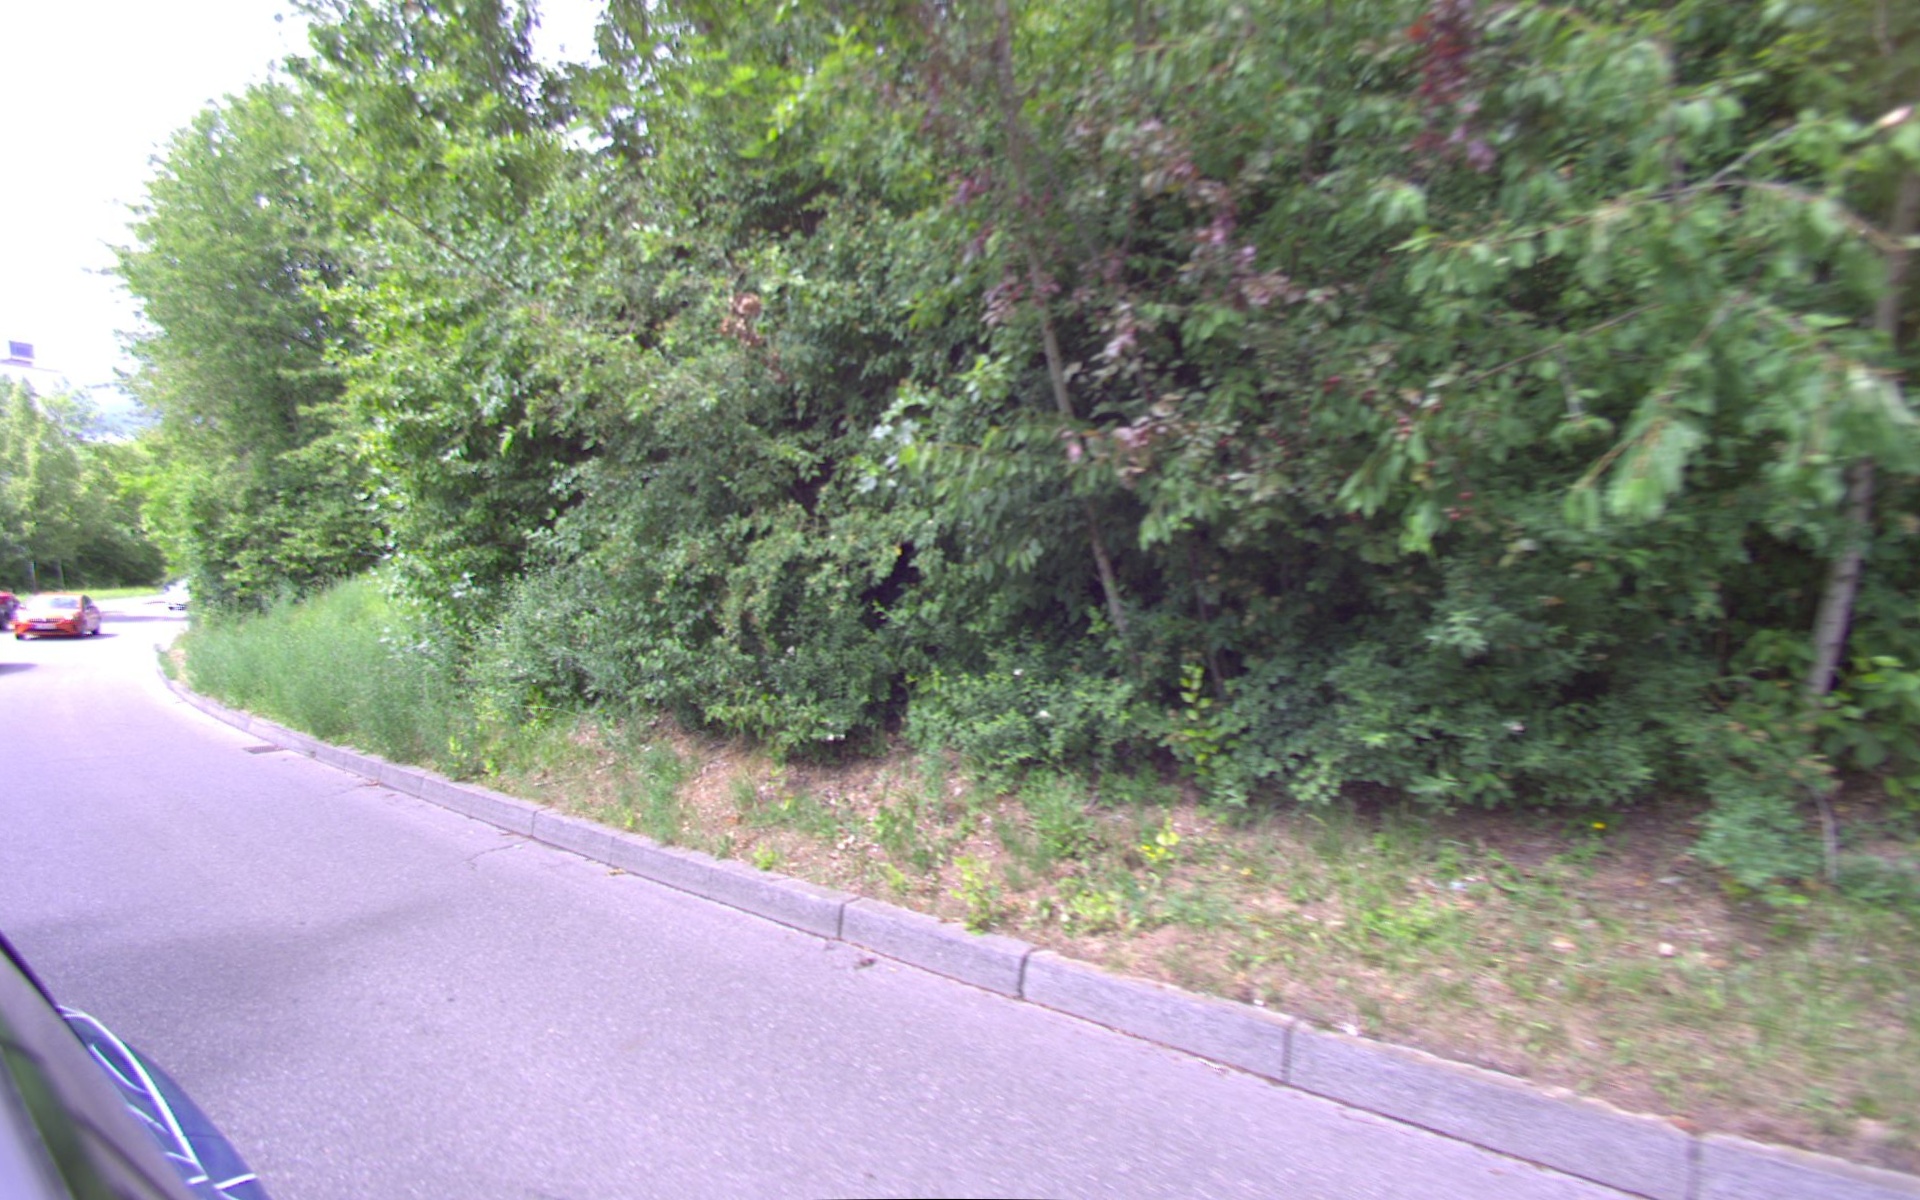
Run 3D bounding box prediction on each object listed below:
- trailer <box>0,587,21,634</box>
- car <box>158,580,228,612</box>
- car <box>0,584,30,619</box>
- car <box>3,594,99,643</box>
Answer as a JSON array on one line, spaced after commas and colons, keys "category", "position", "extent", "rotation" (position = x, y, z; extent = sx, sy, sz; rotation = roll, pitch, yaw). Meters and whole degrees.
[{"category": "trailer", "position": [-34.127, 0.391, 34.758], "extent": [1.785, 1.591, 4.504], "rotation": [0, 1, -30]}, {"category": "car", "position": [-39.675, -0.217, 52.454], "extent": [1.766, 1.520, 4.127], "rotation": [-2, 1, -21]}, {"category": "car", "position": [-45.904, 0.087, 47.130], "extent": [3.431, 1.528, 1.656], "rotation": [-1, 3, -11]}, {"category": "car", "position": [-29.887, 0.577, 33.392], "extent": [1.767, 1.423, 4.124], "rotation": [1, 1, -34]}]
